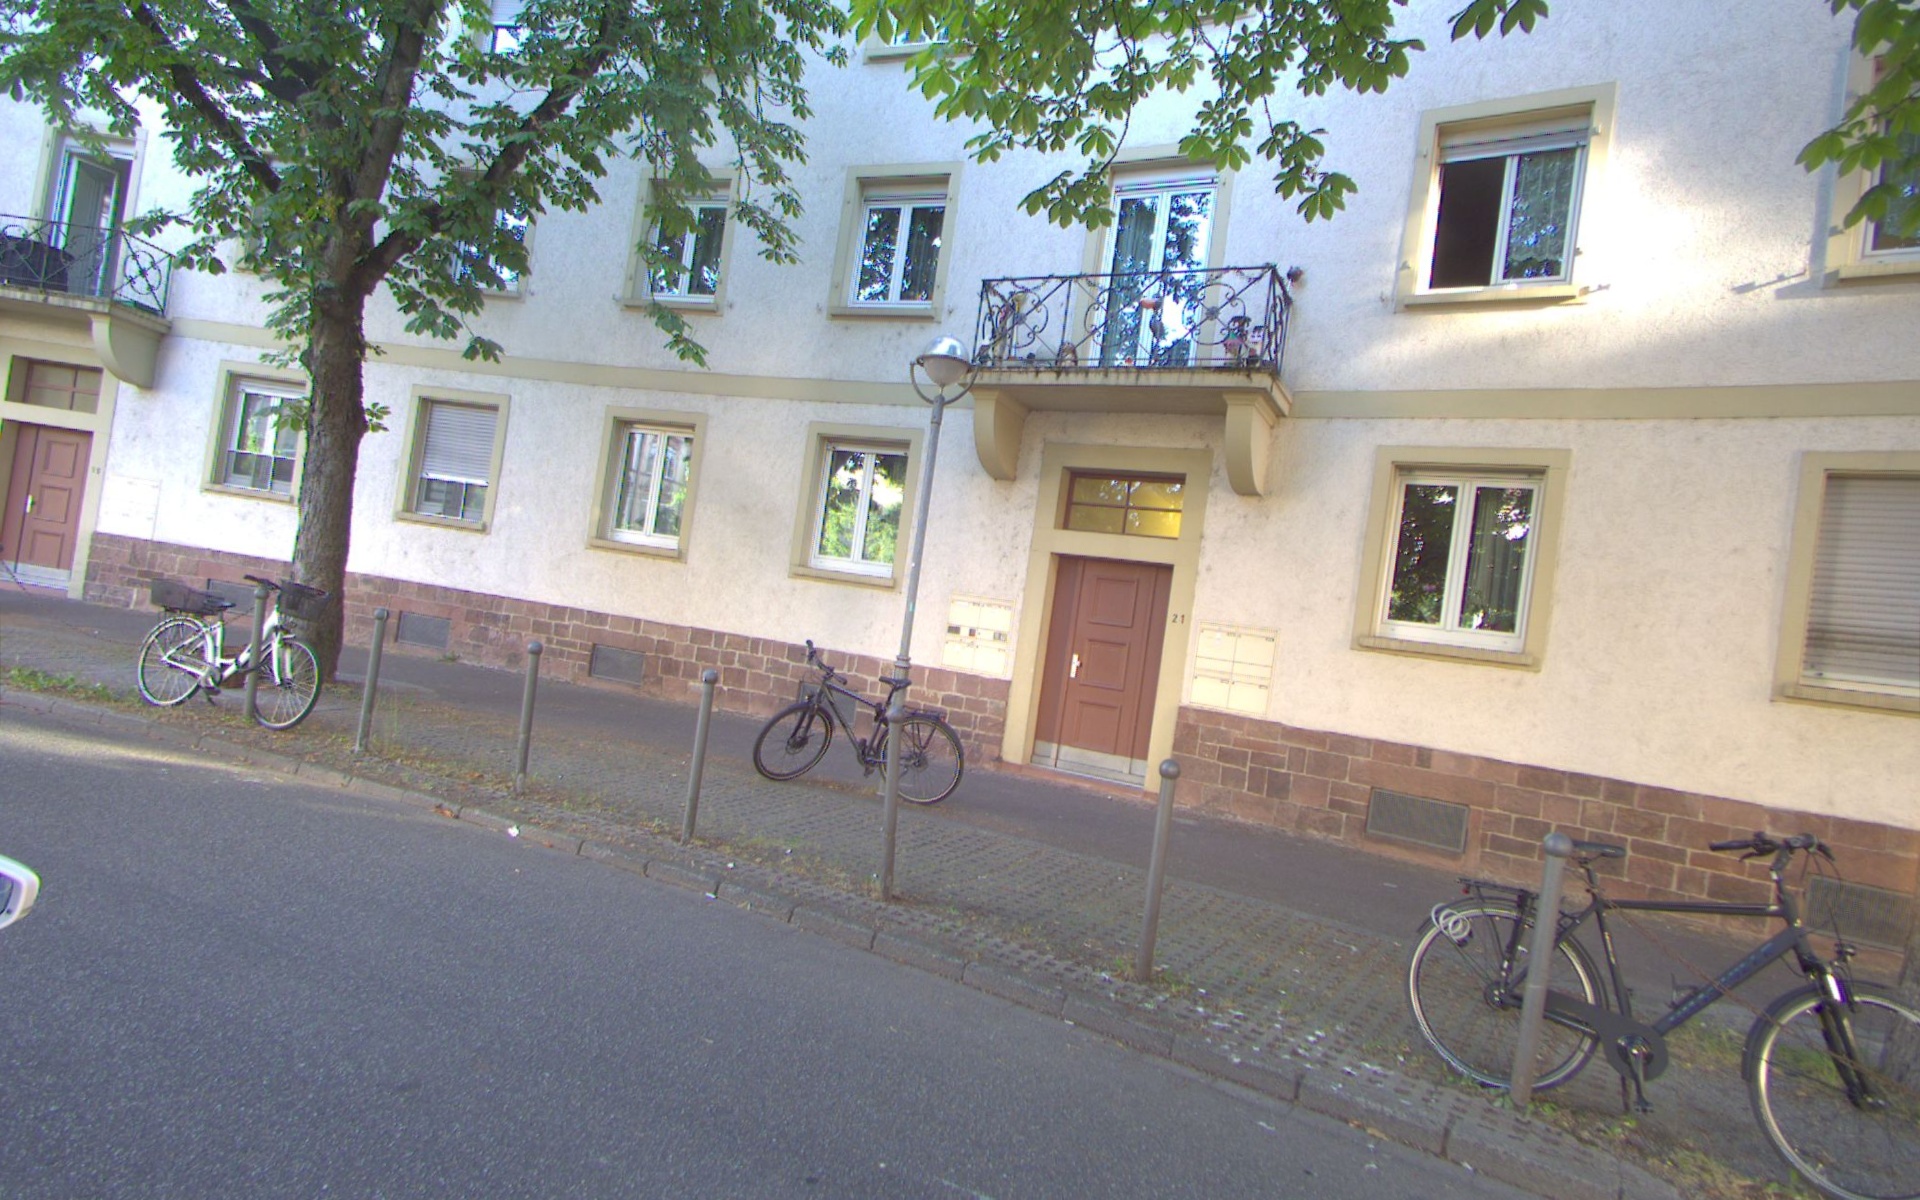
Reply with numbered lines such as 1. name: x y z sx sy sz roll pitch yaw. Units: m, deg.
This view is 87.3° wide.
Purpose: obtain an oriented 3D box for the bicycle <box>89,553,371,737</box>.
1. bicycle: -5.637 0.329 7.777 1.936 1.109 0.514 8 0 12

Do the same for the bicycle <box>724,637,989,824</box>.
1. bicycle: -0.786 0.996 7.994 1.823 1.131 0.804 8 -1 8

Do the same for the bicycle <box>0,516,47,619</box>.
1. bicycle: -11.696 -0.498 11.567 1.929 1.120 0.670 8 -2 13

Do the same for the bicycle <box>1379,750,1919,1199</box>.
1. bicycle: 2.637 1.335 3.634 1.881 1.237 0.719 7 -1 29
